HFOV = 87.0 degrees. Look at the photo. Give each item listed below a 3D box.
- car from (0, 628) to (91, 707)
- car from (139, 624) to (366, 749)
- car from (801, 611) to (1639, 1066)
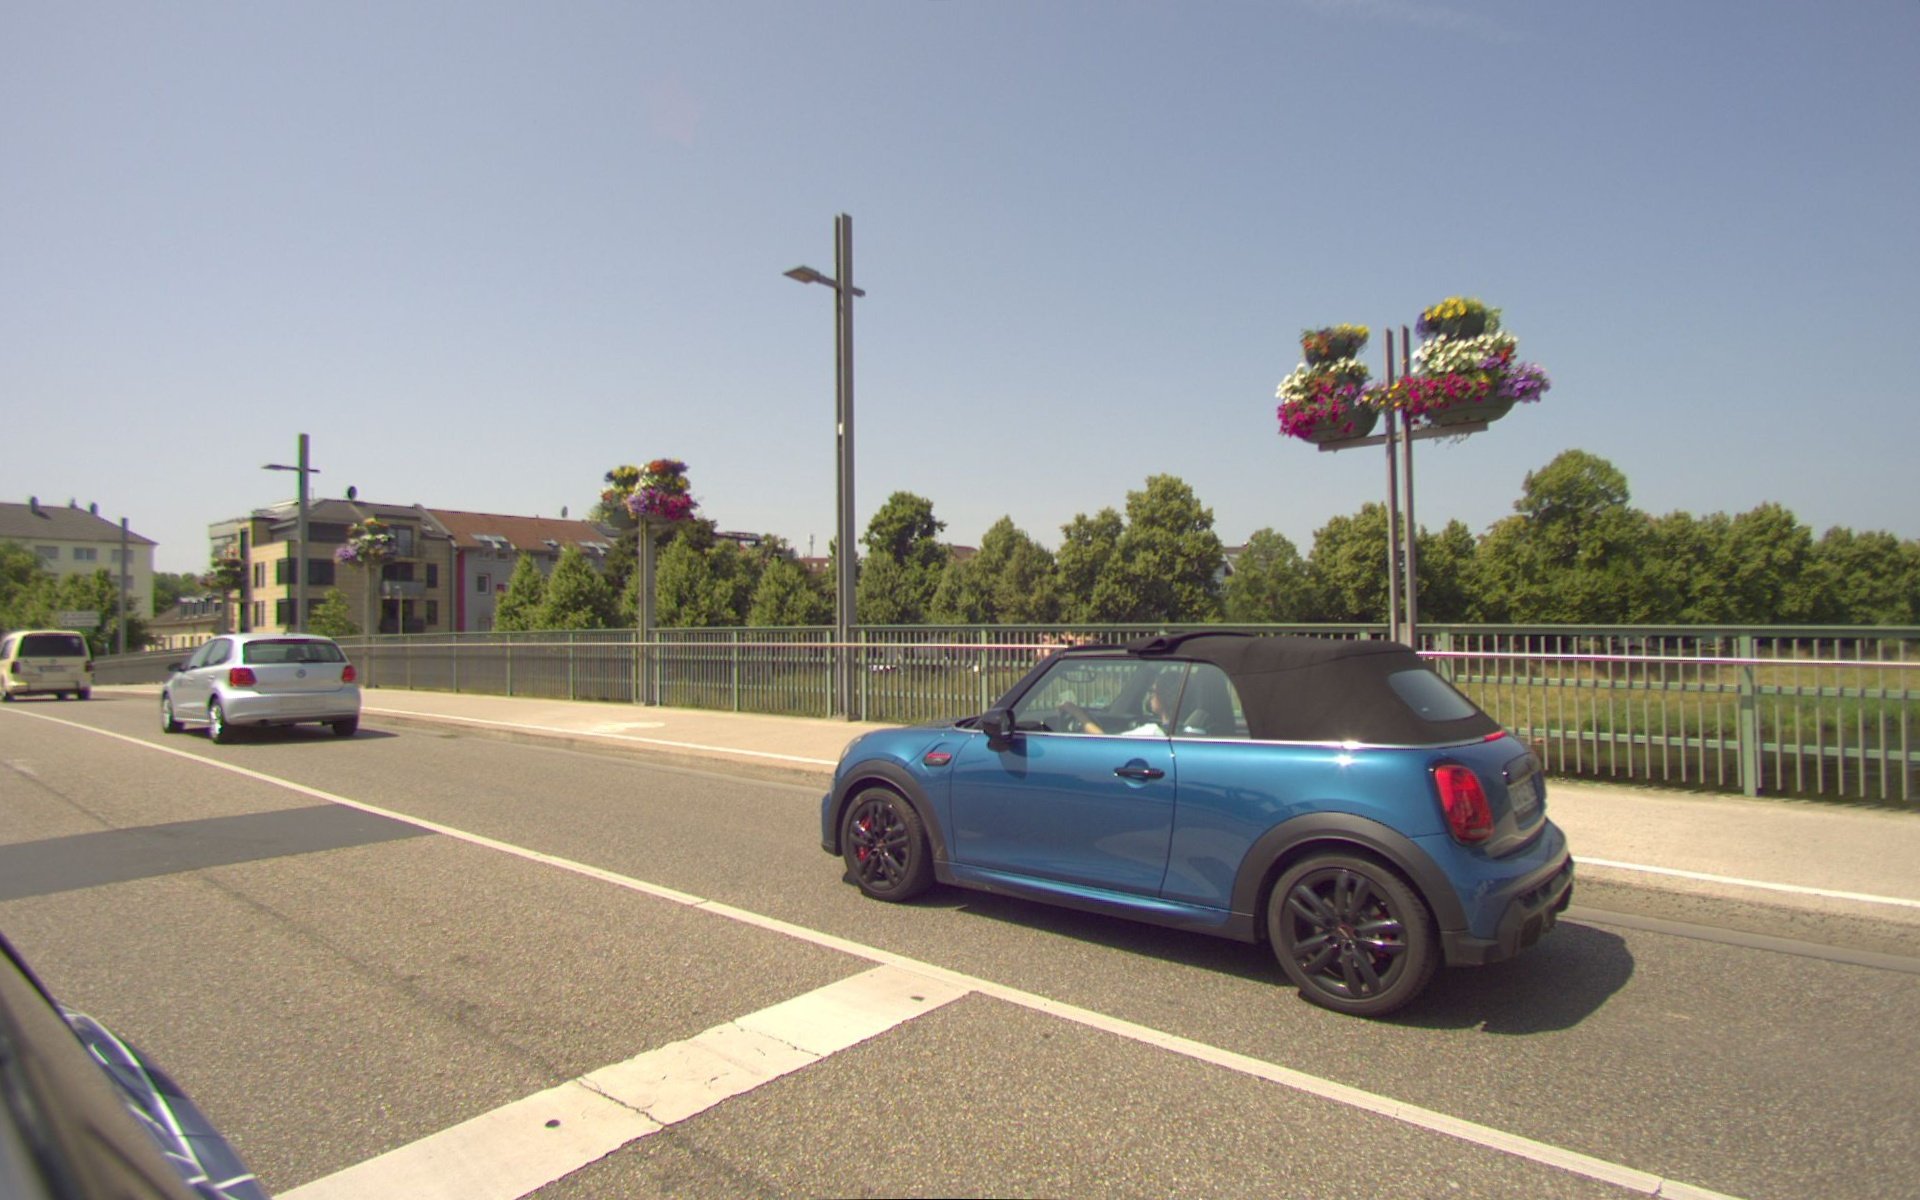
[{"bbox_3d":[-24.638,1.746,26.866,4.644,1.871,1.741,-3,-1,41],"label":"car"},{"bbox_3d":[-10.202,1.160,14.498,3.998,1.531,1.742,-3,-3,41],"label":"car"},{"bbox_3d":[1.069,0.835,5.107,3.752,1.451,1.640,-2,-3,40],"label":"car"}]
